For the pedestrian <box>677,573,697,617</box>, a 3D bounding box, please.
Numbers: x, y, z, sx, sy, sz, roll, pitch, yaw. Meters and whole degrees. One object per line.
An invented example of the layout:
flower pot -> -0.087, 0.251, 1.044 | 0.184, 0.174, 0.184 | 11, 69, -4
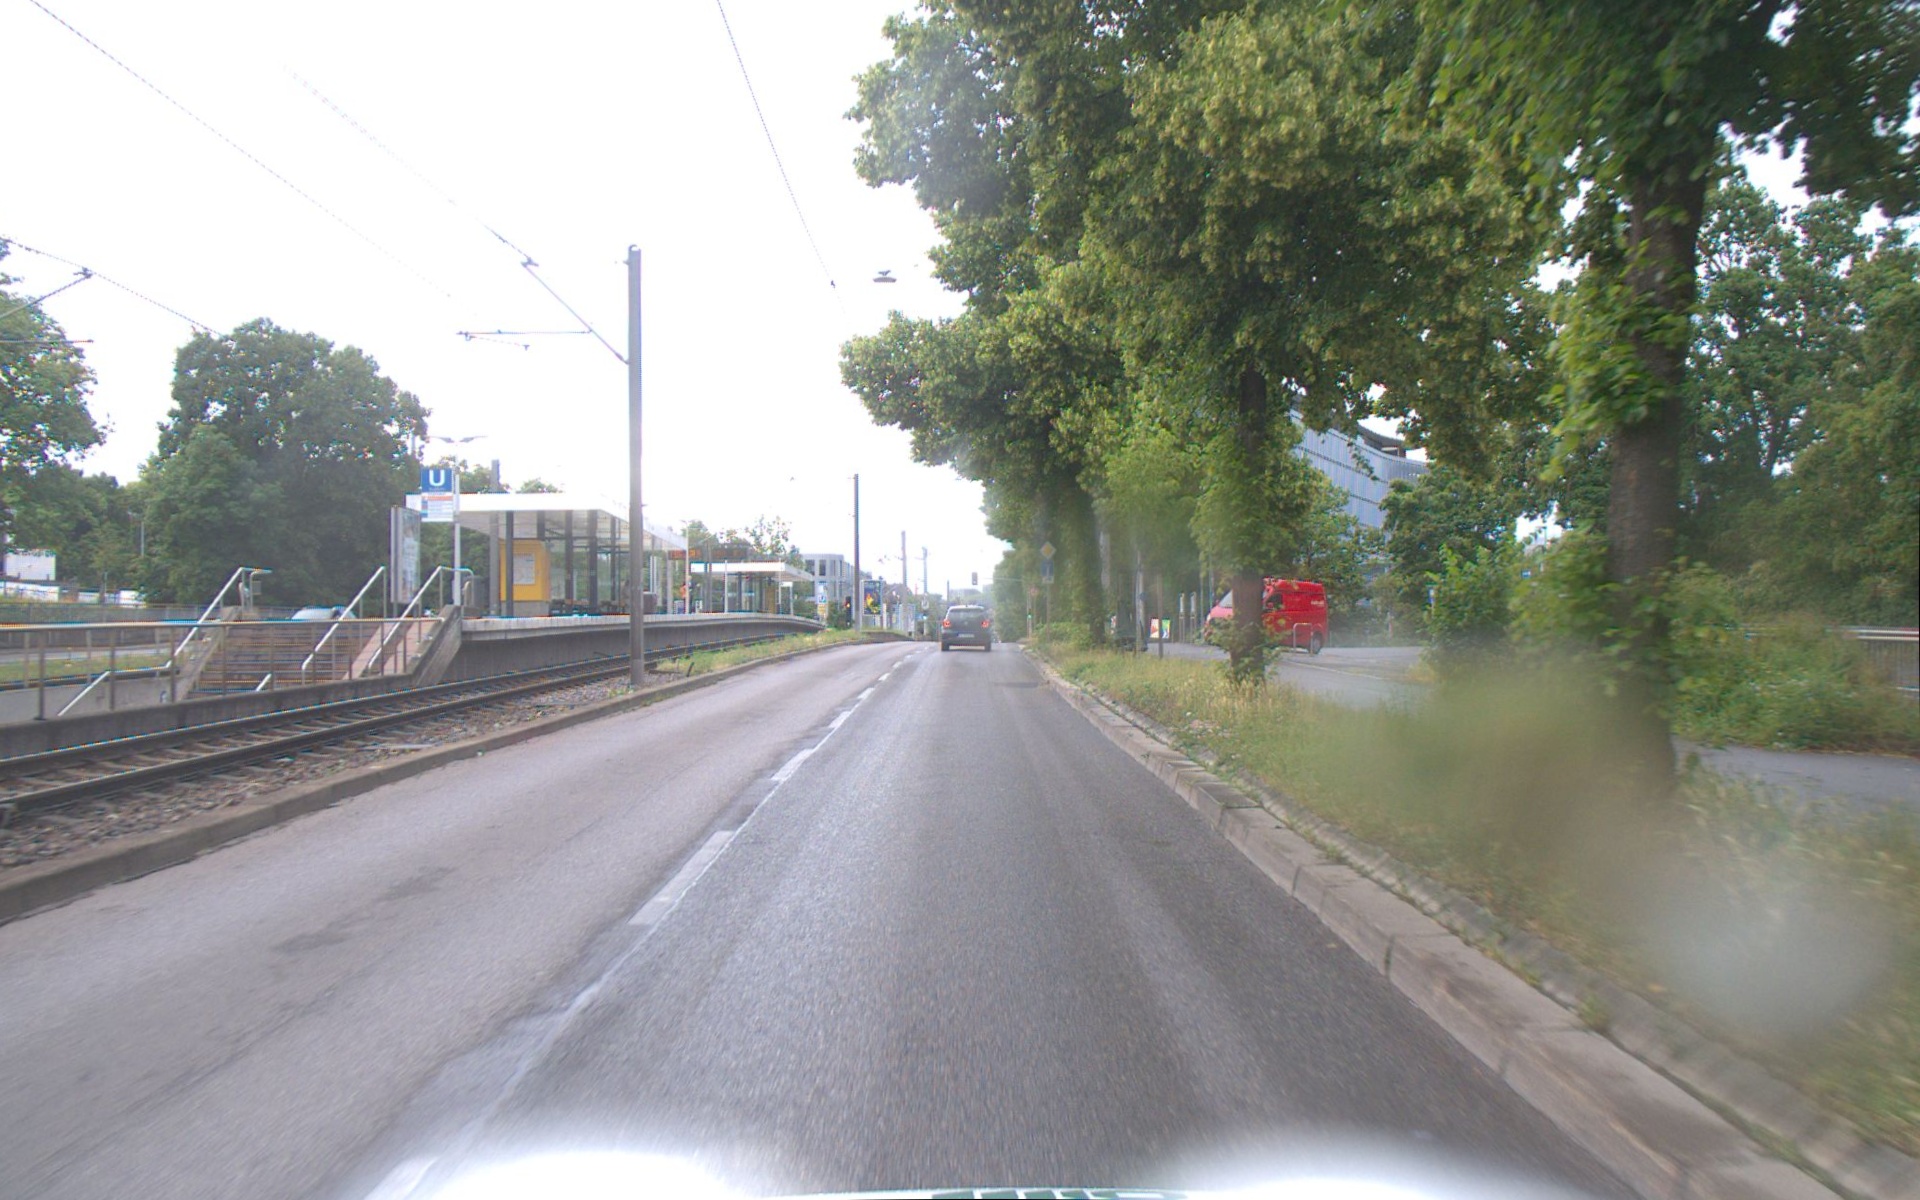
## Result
pedestrian -> -12.432, -0.239, 75.349 | 0.732, 1.943, 0.837 | 1, 1, -20

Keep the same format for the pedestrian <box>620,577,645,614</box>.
pedestrian -> -11.127, -0.149, 56.190 | 0.696, 1.247, 0.619 | 0, -1, 1

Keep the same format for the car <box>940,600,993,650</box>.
car -> 0.212, 0.799, 54.572 | 1.691, 1.567, 4.000 | 0, 0, 0

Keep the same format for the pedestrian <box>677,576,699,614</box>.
pedestrian -> -12.230, -0.233, 74.424 | 0.783, 1.676, 0.913 | 1, 1, -20

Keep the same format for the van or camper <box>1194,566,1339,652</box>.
van or camper -> 10.109, 0.330, 54.252 | 2.006, 2.448, 5.356 | 3, -1, 43
